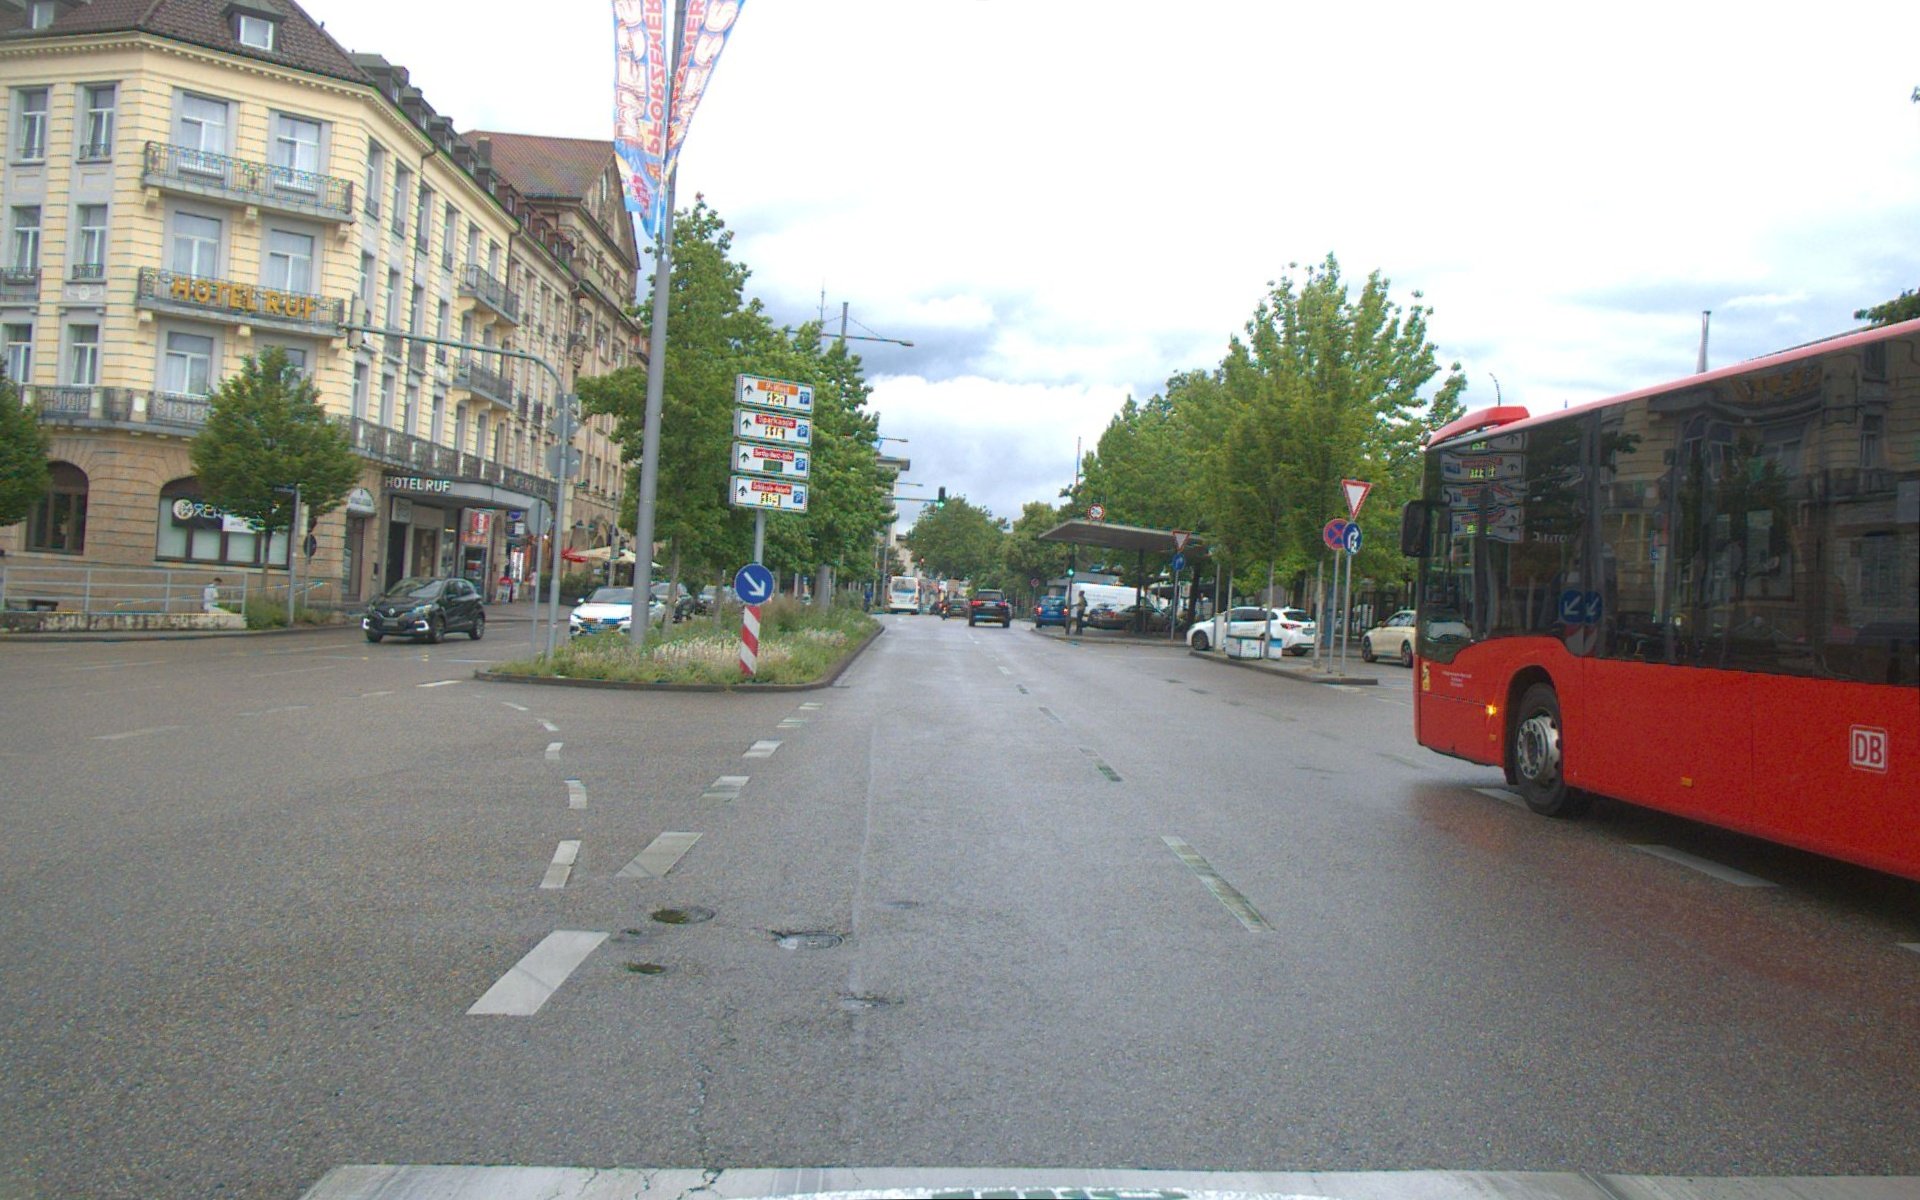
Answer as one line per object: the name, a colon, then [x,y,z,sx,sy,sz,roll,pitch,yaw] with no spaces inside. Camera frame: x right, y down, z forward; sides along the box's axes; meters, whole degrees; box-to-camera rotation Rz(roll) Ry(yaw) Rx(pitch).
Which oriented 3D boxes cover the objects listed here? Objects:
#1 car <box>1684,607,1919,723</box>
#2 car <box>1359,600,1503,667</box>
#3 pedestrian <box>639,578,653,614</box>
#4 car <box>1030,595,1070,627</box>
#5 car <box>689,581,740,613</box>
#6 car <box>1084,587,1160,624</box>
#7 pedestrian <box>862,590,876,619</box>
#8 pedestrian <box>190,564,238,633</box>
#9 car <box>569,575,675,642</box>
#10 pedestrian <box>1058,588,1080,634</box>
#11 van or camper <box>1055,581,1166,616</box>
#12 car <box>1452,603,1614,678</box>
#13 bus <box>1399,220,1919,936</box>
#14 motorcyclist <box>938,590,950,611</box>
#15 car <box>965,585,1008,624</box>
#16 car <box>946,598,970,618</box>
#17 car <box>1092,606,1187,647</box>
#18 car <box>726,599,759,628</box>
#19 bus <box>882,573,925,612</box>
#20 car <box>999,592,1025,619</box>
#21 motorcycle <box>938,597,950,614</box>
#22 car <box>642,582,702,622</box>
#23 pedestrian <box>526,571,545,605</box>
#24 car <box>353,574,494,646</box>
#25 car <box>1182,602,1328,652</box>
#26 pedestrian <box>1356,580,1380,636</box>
car: [13.377,0.950,26.063,1.739,1.617,4.614,1,0,-2]
car: [12.556,0.854,44.477,1.956,1.628,4.814,1,0,-8]
pedestrian: [-15.496,-0.215,81.677,0.563,1.762,0.609,2,0,-1]
car: [4.627,0.549,85.459,1.779,1.557,3.999,1,0,-1]
car: [-11.859,-0.135,80.033,1.718,1.466,4.060,1,0,1]
car: [9.484,0.318,96.787,3.929,2.049,1.988,1,0,-21]
pedestrian: [-5.644,0.276,102.905,0.742,1.730,0.560,2,0,6]
pedestrian: [-21.037,-0.037,46.647,0.845,1.911,1.022,2,0,-1]
car: [-8.937,0.172,44.135,1.689,1.405,4.862,2,4,1]
pedestrian: [4.396,0.449,66.621,0.705,1.822,0.663,2,0,-12]
van or camper: [9.410,-0.079,102.974,6.675,2.049,2.364,1,-1,-27]
car: [13.057,0.888,38.000,1.875,1.551,4.740,1,0,-3]
bus: [5.541,-0.086,9.414,2.689,3.229,10.186,1,0,-4]
motorcyclist: [-1.035,0.024,108.104,0.749,1.355,0.866,2,0,-1]
car: [1.292,0.187,81.762,1.953,1.837,4.689,1,0,-1]
car: [-0.159,0.574,124.872,1.673,1.473,3.999,1,0,-1]
car: [8.948,1.310,82.395,4.273,1.890,1.988,2,0,-21]
car: [-12.344,0.750,93.708,1.723,1.393,4.052,4,0,-9]
bus: [-5.303,-0.681,152.111,3.685,3.265,15.518,1,0,-3]
car: [3.828,0.389,122.266,1.752,1.892,3.999,1,0,-1]
motorcycle: [-1.048,0.352,108.039,0.750,1.095,2.175,2,0,-1]
car: [-11.268,0.075,64.854,1.597,1.502,4.026,1,0,0]
pedestrian: [-19.070,-0.535,74.240,0.656,1.537,0.512,2,0,-39]
car: [-13.081,0.193,40.573,1.734,1.557,4.082,2,2,6]
car: [9.098,0.816,51.191,1.764,1.409,4.303,1,0,-41]
pedestrian: [18.236,0.367,74.016,0.825,2.453,0.862,1,0,1]
